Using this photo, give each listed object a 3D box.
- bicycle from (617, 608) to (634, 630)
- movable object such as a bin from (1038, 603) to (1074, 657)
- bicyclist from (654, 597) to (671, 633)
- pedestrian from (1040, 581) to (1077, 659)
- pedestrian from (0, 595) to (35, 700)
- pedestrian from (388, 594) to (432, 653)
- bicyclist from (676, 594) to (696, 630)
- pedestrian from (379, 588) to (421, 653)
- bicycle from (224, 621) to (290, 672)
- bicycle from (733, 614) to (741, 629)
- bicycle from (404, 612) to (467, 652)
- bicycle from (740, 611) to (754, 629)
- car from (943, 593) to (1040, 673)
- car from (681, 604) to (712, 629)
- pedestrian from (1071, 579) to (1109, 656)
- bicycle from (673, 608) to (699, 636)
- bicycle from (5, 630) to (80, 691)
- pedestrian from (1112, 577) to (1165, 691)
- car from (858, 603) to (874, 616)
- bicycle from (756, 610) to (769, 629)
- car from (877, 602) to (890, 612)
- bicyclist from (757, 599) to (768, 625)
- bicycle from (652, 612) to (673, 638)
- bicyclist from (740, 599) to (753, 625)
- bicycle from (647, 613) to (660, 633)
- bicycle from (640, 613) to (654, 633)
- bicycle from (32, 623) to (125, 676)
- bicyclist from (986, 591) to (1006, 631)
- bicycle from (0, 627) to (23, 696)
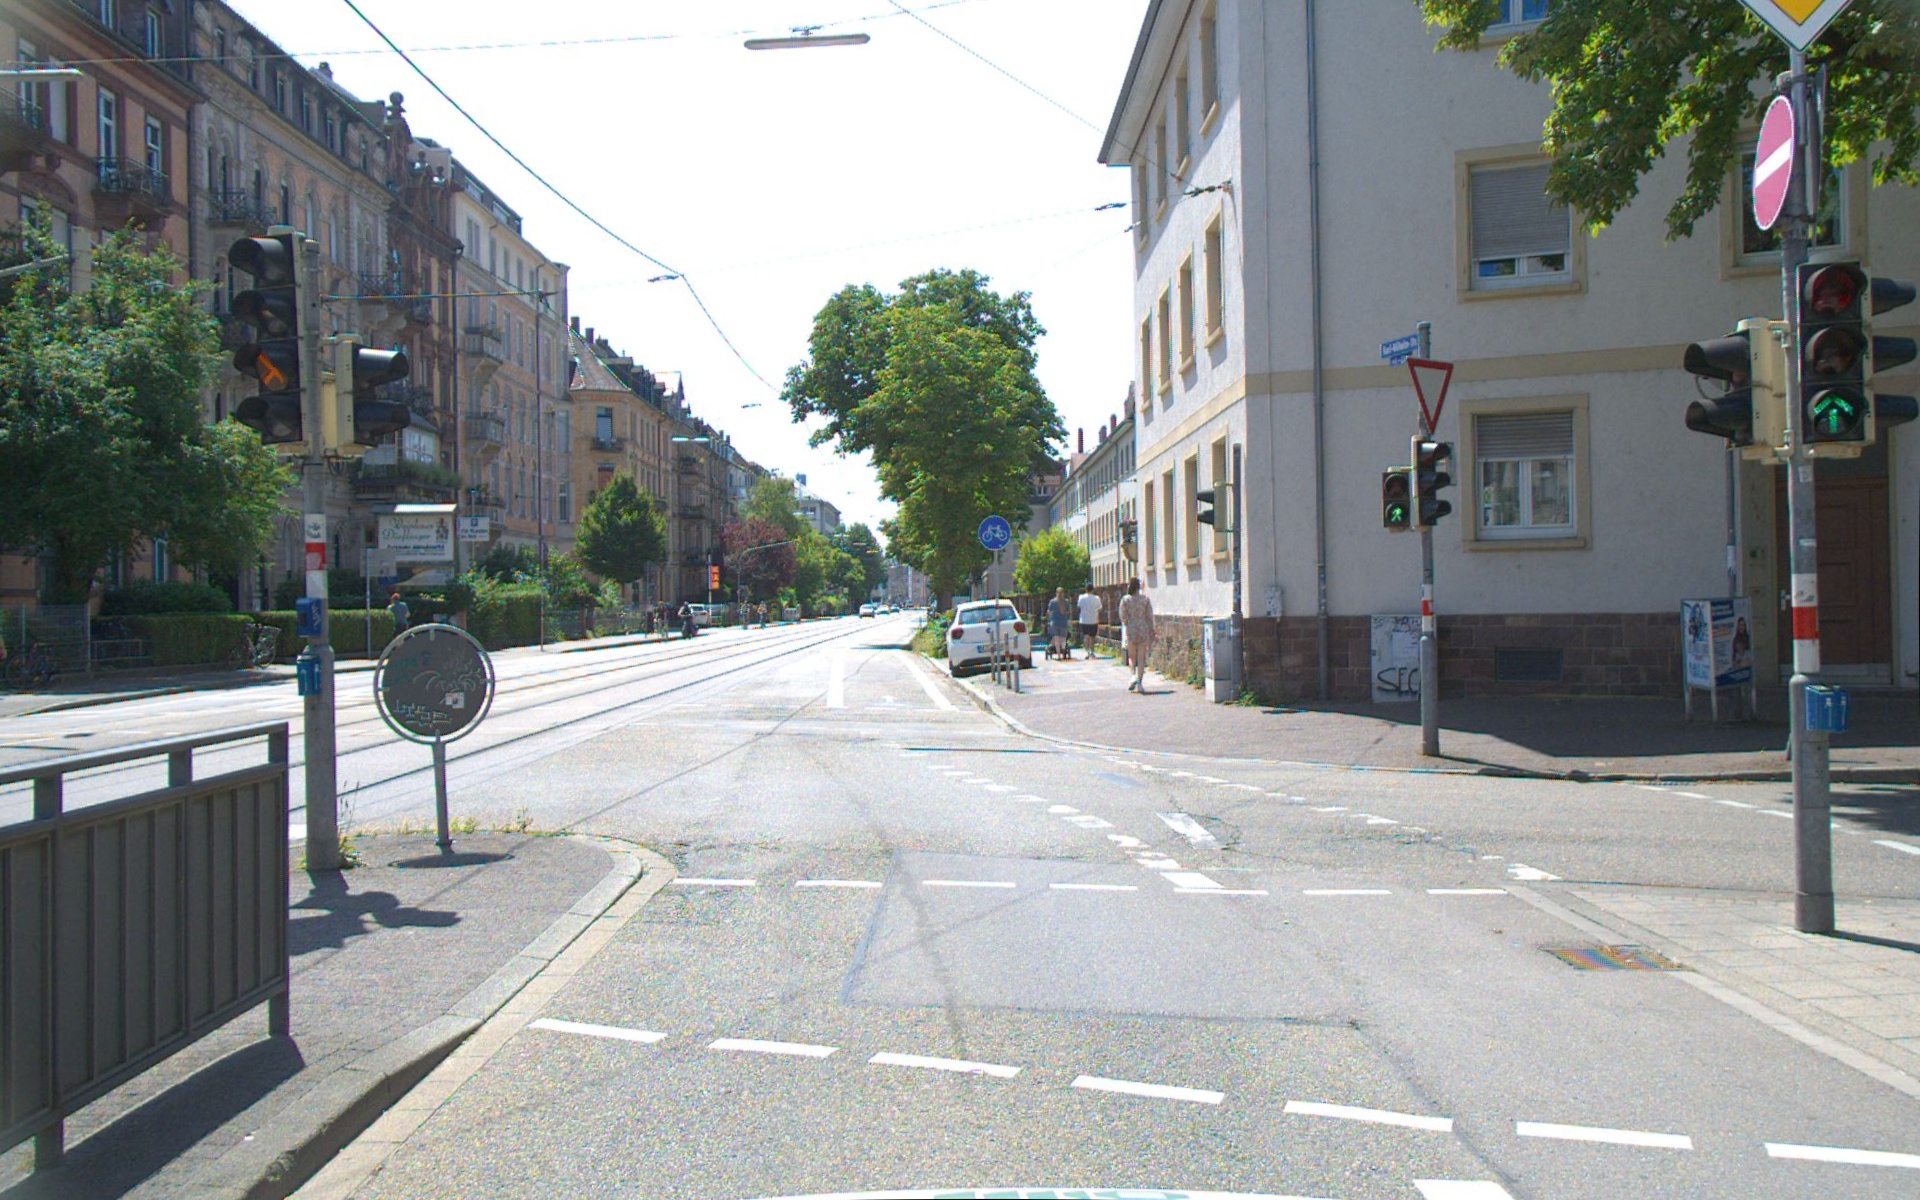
[{"bbox_3d":[-16.132,0.927,79.880,0.486,1.004,1.710,3,0,-2],"label":"bicycle"},{"bbox_3d":[2.228,0.689,38.521,0.683,1.206,1.036,-4,0,-2],"label":"movable object such as a bin"},{"bbox_3d":[-12.785,0.629,71.056,0.551,1.542,0.892,-1,0,0],"label":"bicyclist"},{"bbox_3d":[2.232,0.442,37.565,0.683,1.698,0.869,-4,0,-2],"label":"pedestrian"},{"bbox_3d":[-16.265,0.790,27.760,0.853,1.730,1.014,-1,0,5],"label":"pedestrian"},{"bbox_3d":[-16.358,0.710,49.214,0.890,1.730,0.823,-1,0,26],"label":"pedestrian"},{"bbox_3d":[-12.955,0.552,78.223,0.791,1.658,0.980,-1,0,0],"label":"bicyclist"},{"bbox_3d":[-16.345,0.593,48.262,0.862,1.889,0.812,-1,0,41],"label":"pedestrian"},{"bbox_3d":[-16.276,1.062,38.345,0.625,1.112,1.932,1,0,2],"label":"bicycle"},{"bbox_3d":[-16.472,1.586,122.159,0.445,1.021,1.805,-1,0,-4],"label":"bicycle"},{"bbox_3d":[-16.871,1.012,53.196,1.833,1.249,0.568,1,0,-4],"label":"bicycle"},{"bbox_3d":[-13.460,1.241,104.458,0.616,1.097,1.875,-2,0,-1],"label":"bicycle"},{"bbox_3d":[0.605,0.663,35.120,1.742,1.434,4.155,-6,0,-2],"label":"car"},{"bbox_3d":[-17.973,1.118,113.082,1.829,1.628,4.097,0,0,-6],"label":"car"},{"bbox_3d":[2.969,0.397,37.795,0.683,1.698,0.756,-4,0,-2],"label":"pedestrian"},{"bbox_3d":[-12.948,1.027,78.272,0.791,1.294,2.550,-1,0,0],"label":"bicycle"},{"bbox_3d":[-17.036,1.108,30.731,0.450,1.074,1.565,-1,0,3],"label":"bicycle"},{"bbox_3d":[2.708,0.510,25.158,0.683,1.699,0.756,-1,0,-2],"label":"pedestrian"},{"bbox_3d":[-10.731,1.103,189.543,1.650,1.475,3.999,-2,0,-1],"label":"car"},{"bbox_3d":[-12.463,1.226,104.513,0.569,1.097,1.890,-2,0,-1],"label":"bicycle"},{"bbox_3d":[-11.514,1.097,248.037,1.720,1.449,4.000,-2,0,0],"label":"car"},{"bbox_3d":[-12.480,0.747,104.531,0.580,1.571,0.952,-2,0,-1],"label":"bicyclist"},{"bbox_3d":[-12.785,1.062,71.072,0.556,1.056,1.829,-1,0,0],"label":"bicycle"},{"bbox_3d":[-13.473,0.738,104.427,0.621,1.612,1.028,-2,0,-1],"label":"bicyclist"},{"bbox_3d":[-16.111,1.208,87.064,0.430,1.000,1.710,-1,0,-2],"label":"bicycle"},{"bbox_3d":[-16.103,1.182,85.023,0.430,1.000,1.710,-1,0,-2],"label":"bicycle"},{"bbox_3d":[-17.863,1.000,33.541,1.612,1.013,0.495,-1,0,1],"label":"bicycle"},{"bbox_3d":[1.345,0.407,61.370,0.696,1.477,1.010,-1,0,1],"label":"bicyclist"},{"bbox_3d":[-16.997,1.085,28.577,0.561,1.189,1.716,-1,0,2],"label":"bicycle"}]
